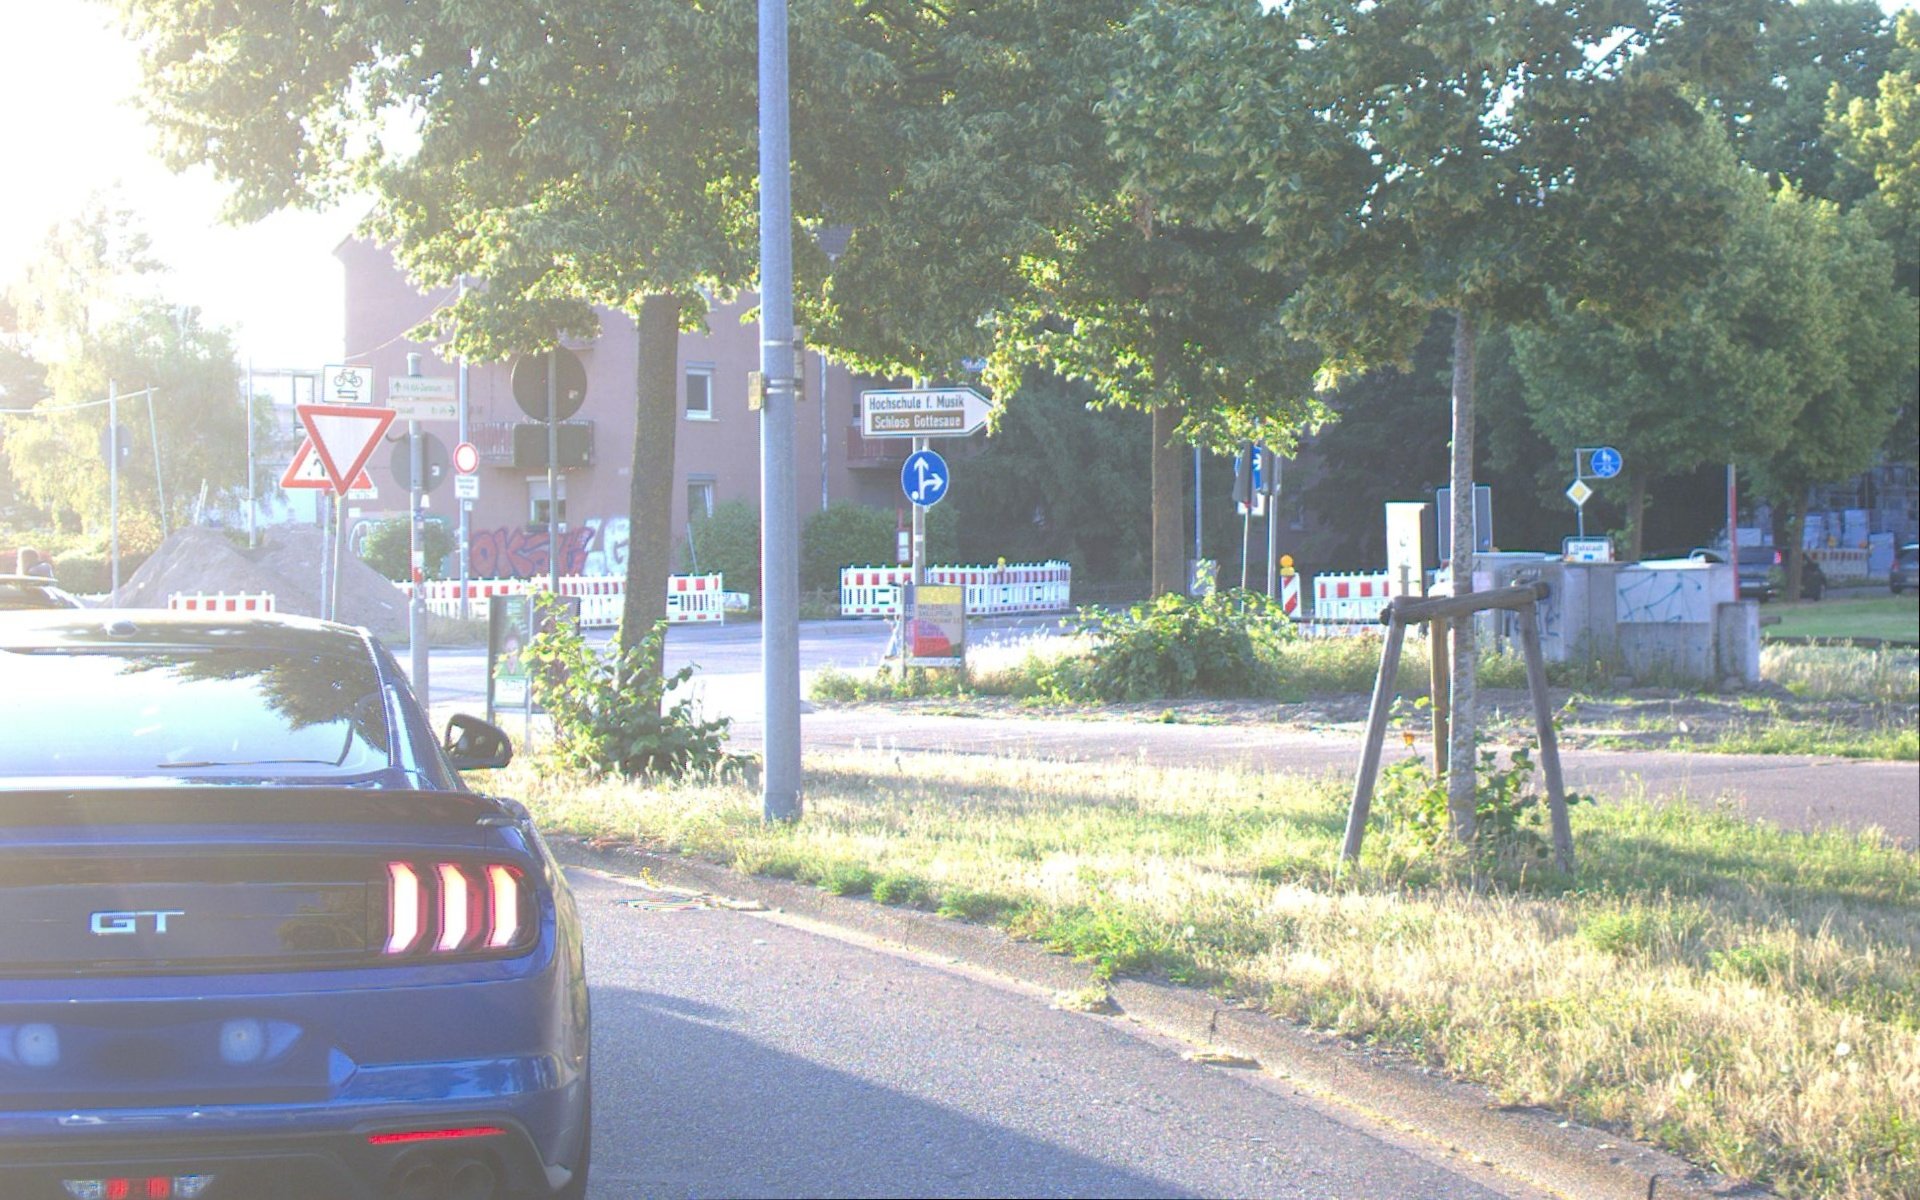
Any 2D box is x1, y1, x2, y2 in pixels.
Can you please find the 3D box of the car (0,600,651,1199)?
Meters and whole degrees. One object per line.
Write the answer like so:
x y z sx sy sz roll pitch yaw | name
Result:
-2.105 0.695 8.475 1.950 1.337 4.672 0 1 -14 | car

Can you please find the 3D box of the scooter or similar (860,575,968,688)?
-0.511 0.347 38.308 1.120 1.234 0.442 0 1 -19 | scooter or similar

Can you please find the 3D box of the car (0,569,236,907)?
-4.980 0.573 16.446 1.951 1.422 4.430 1 0 -25 | car

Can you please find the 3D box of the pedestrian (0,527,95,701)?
-9.114 0.127 33.776 0.844 1.680 0.886 -1 1 -45 | pedestrian

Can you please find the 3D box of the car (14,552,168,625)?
-20.838 -0.281 82.391 1.994 1.700 3.998 -1 1 -41 | car

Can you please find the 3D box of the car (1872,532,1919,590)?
27.486 -1.116 97.546 1.955 1.597 4.070 1 1 33 | car

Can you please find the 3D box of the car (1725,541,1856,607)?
20.891 -0.665 86.426 1.955 1.597 4.070 1 1 33 | car

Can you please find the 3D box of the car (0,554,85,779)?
-7.895 0.457 26.756 1.950 1.597 4.078 4 -1 -13 | car
